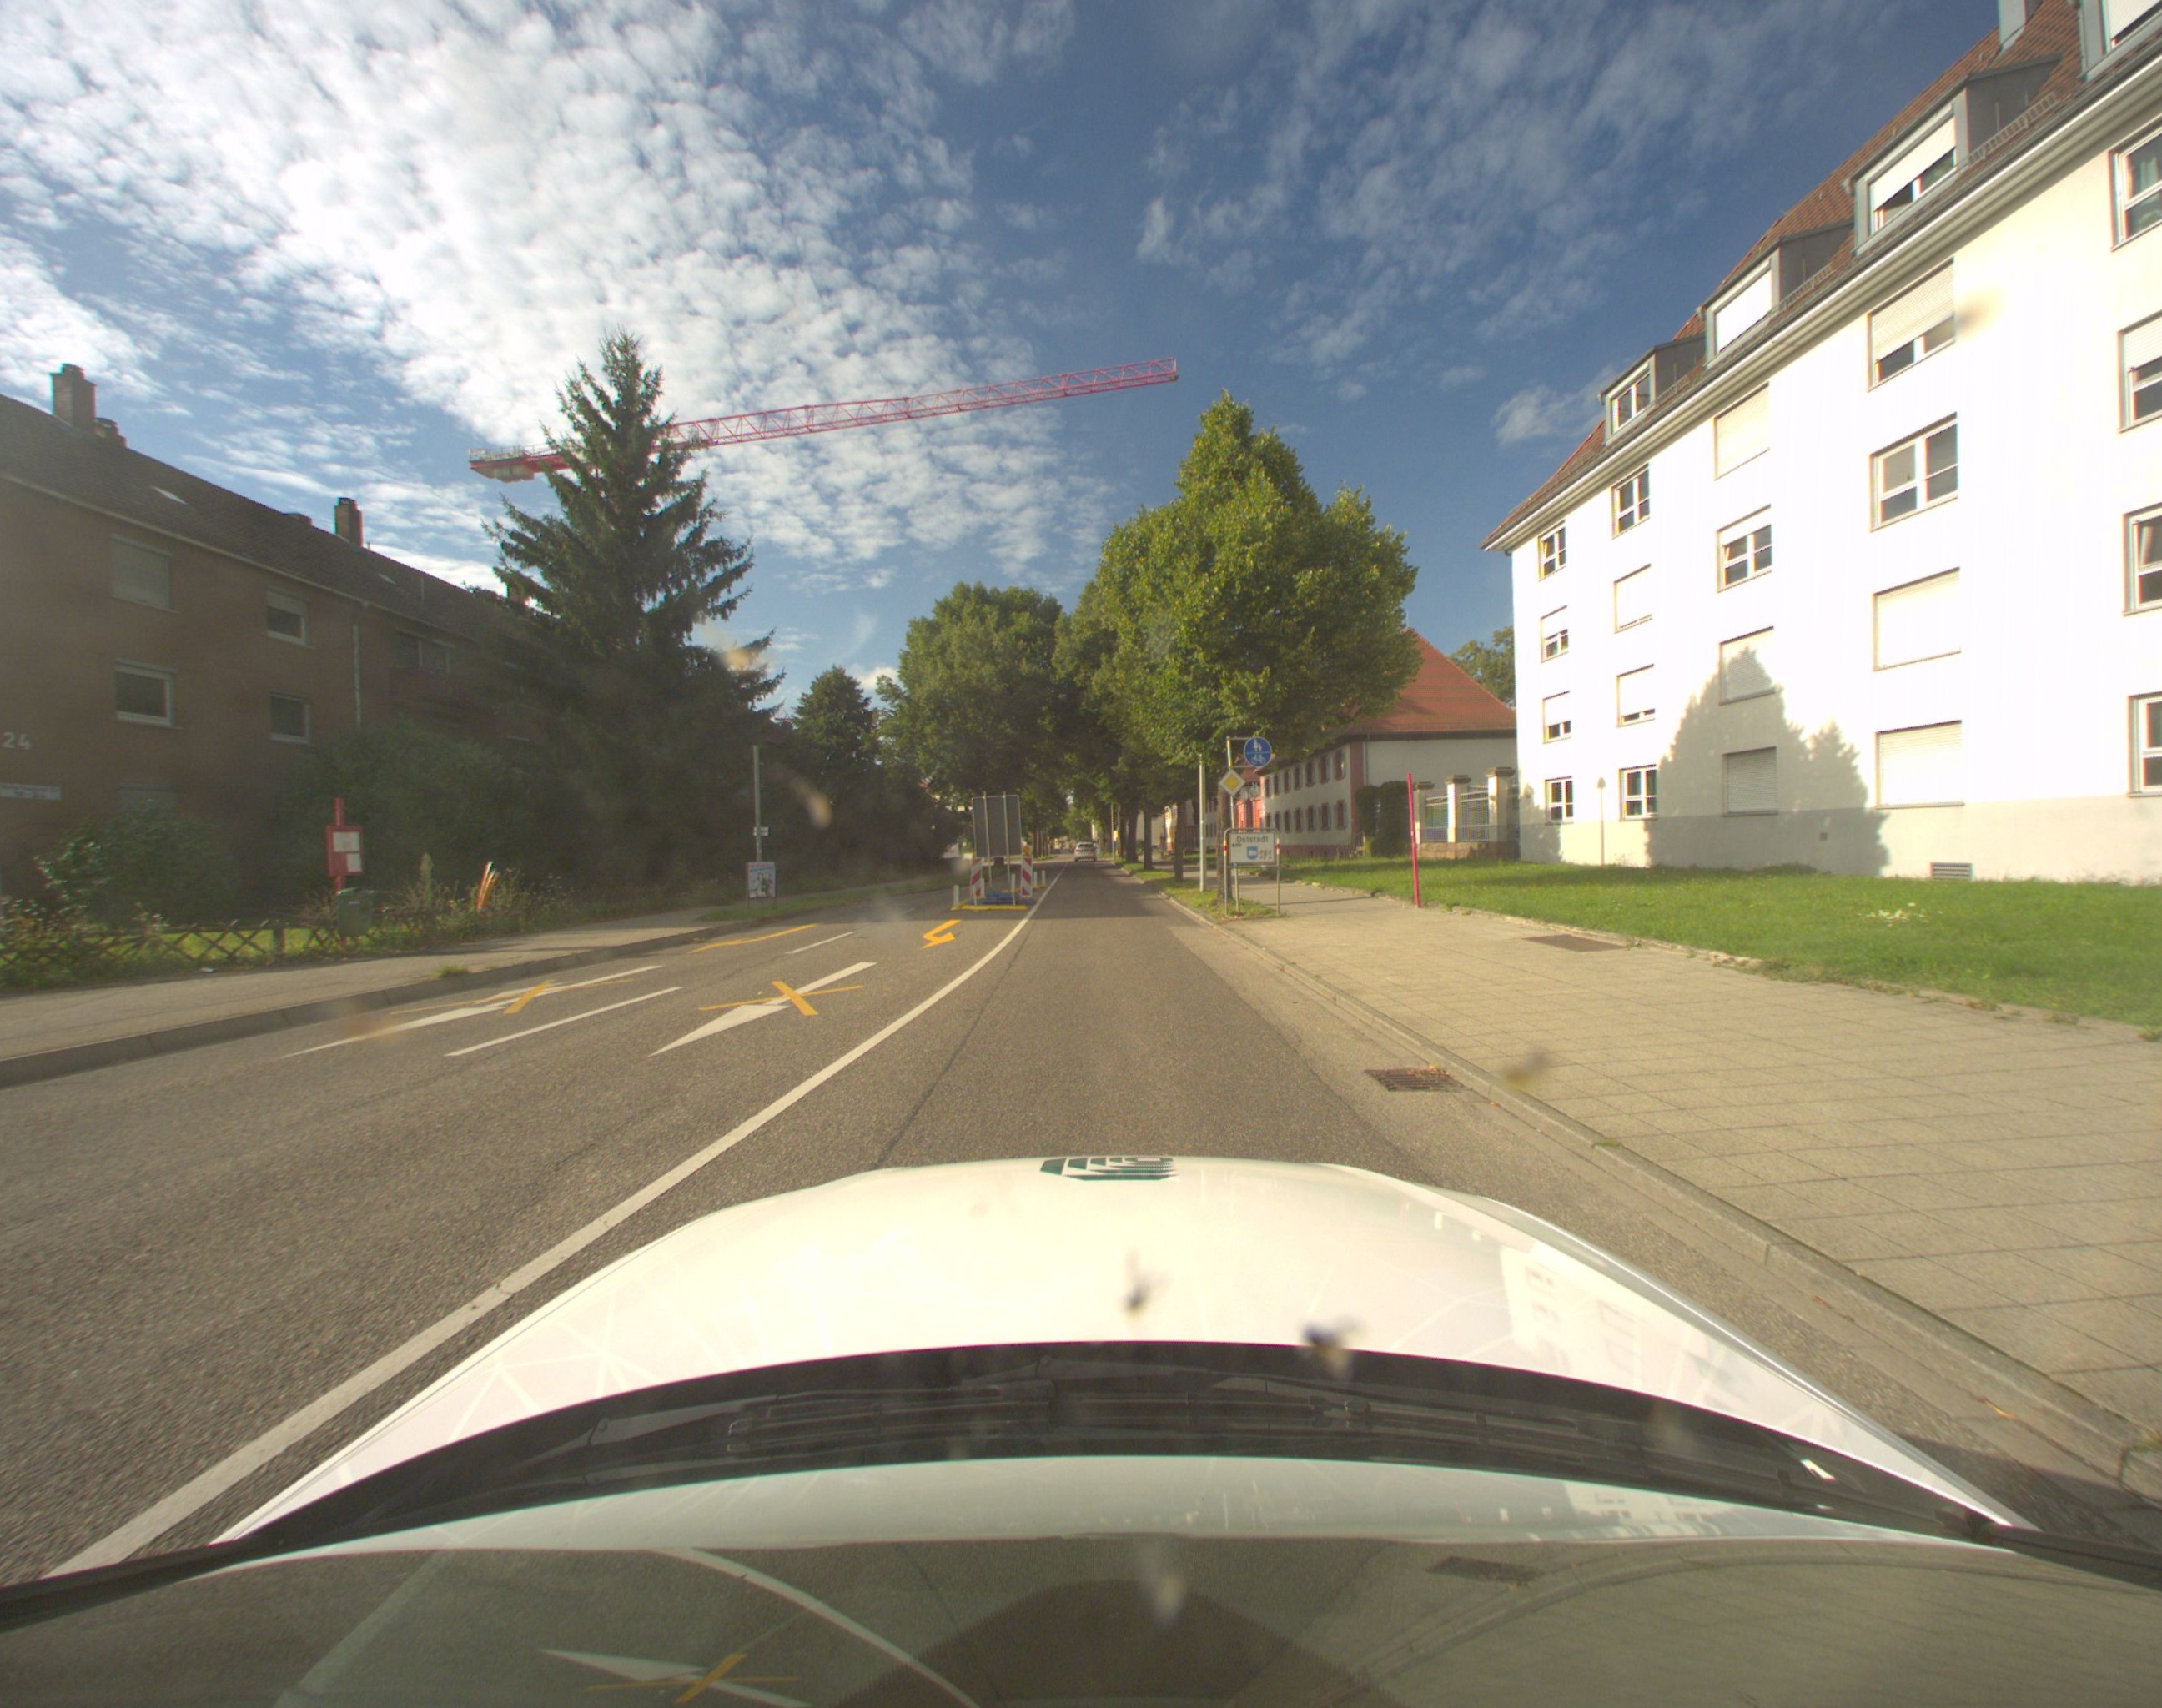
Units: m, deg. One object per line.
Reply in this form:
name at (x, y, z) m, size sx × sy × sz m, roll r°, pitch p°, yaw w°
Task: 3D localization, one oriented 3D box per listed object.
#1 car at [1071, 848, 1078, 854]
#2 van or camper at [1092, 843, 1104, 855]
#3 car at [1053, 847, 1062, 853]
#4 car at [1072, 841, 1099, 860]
car at (-1.969, -0.960, 241.063) m, size 1.987 × 1.755 × 4.000 m, roll -1°, pitch 0°, yaw 0°
van or camper at (4.020, -1.220, 196.484) m, size 2.205 × 2.607 × 5.363 m, roll -2°, pitch 0°, yaw -4°
car at (-6.058, -1.023, 212.600) m, size 1.992 × 1.640 × 3.991 m, roll -3°, pitch 0°, yaw -7°
car at (0.320, -0.289, 67.643) m, size 1.989 × 1.555 × 4.268 m, roll -1°, pitch 0°, yaw -4°
